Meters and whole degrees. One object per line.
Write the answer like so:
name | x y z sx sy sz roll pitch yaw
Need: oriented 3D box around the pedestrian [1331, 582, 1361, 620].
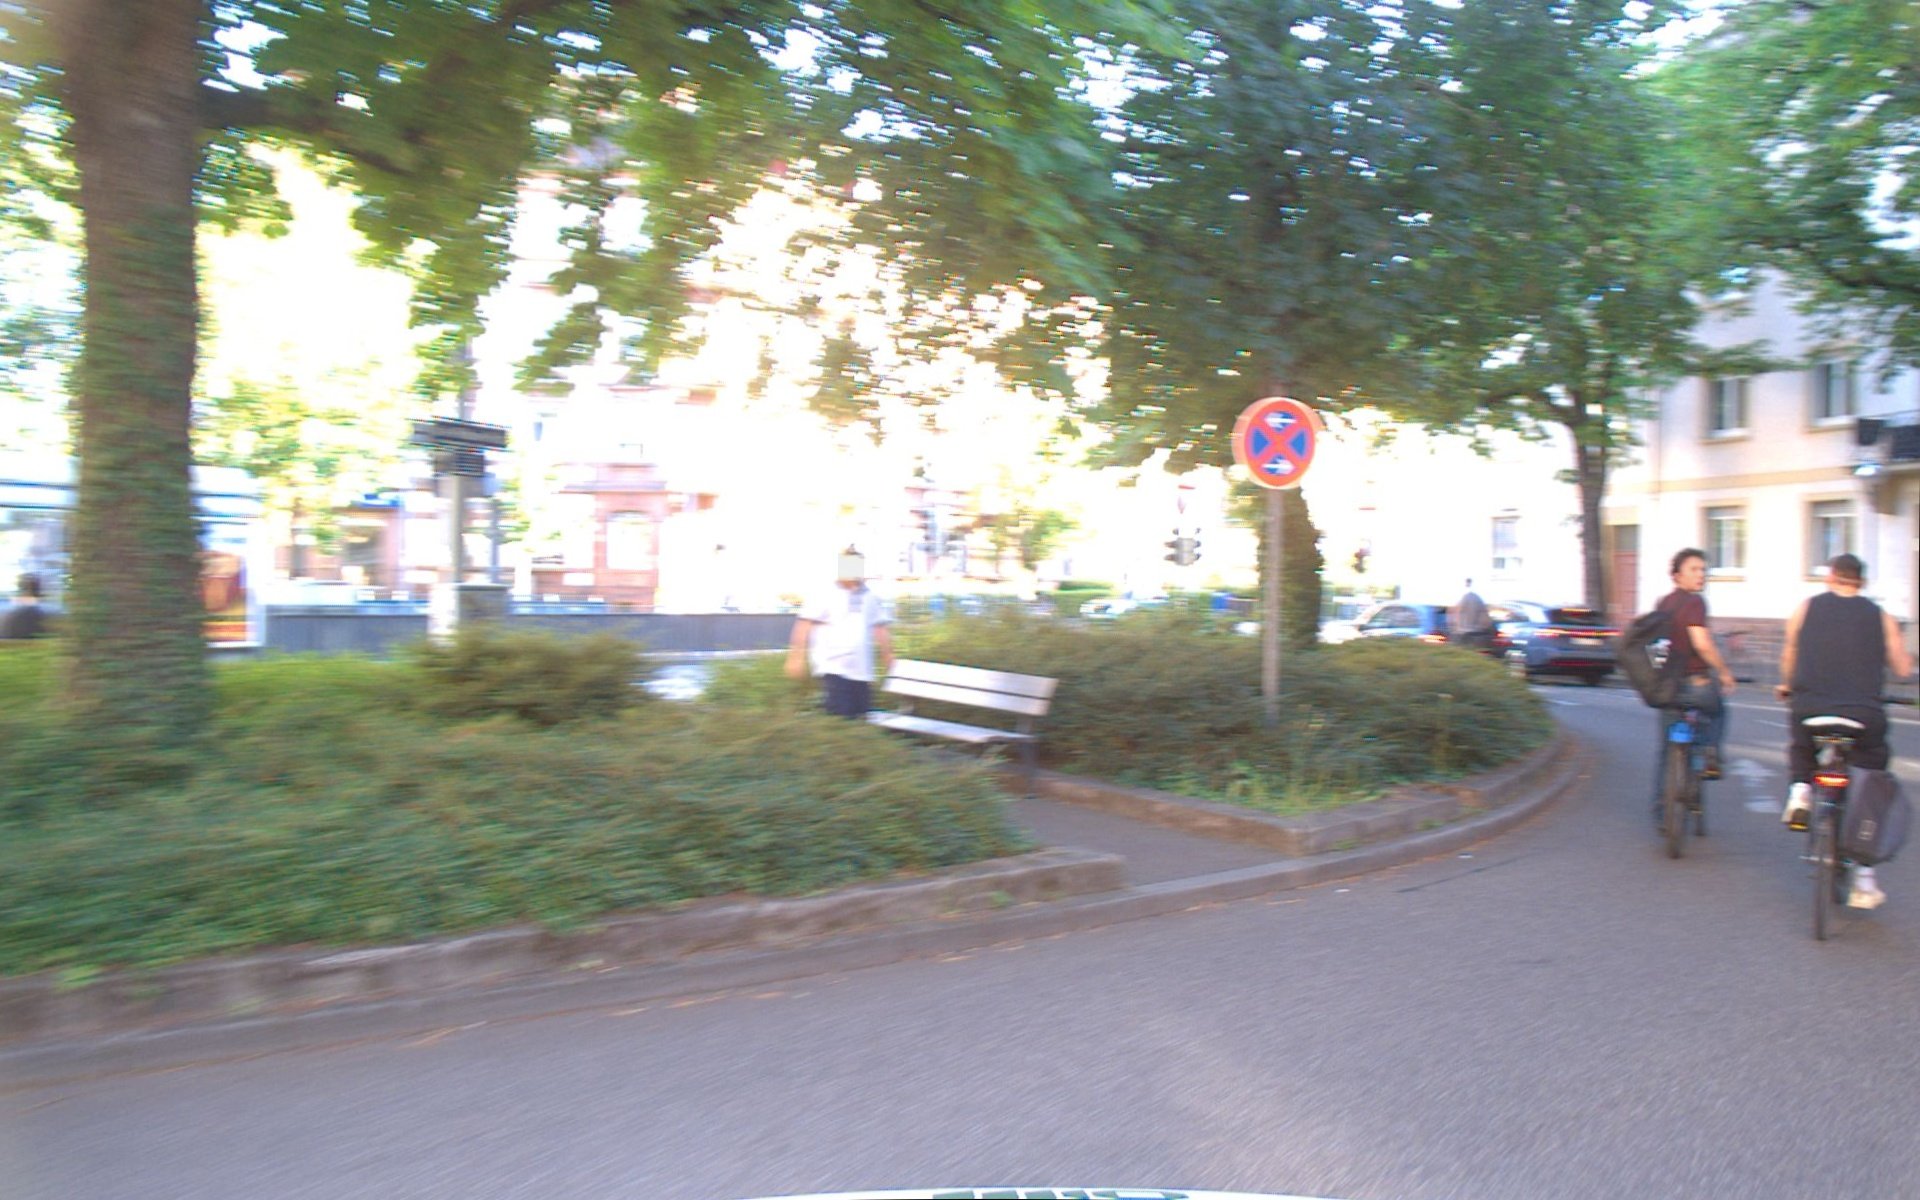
pedestrian | 20.741 0.066 88.967 1.138 1.996 1.383 1 0 34

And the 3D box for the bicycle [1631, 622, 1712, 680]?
bicycle | 13.544 0.953 31.538 0.509 1.016 2.190 1 0 -2

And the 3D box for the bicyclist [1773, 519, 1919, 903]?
bicyclist | 4.327 0.489 7.864 0.738 1.711 0.911 1 0 31

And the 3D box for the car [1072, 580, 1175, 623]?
car | 6.372 0.030 64.099 1.962 1.522 4.354 1 2 39

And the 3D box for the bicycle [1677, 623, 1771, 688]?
bicycle | 13.824 0.991 29.964 0.604 1.076 1.925 -1 1 -8

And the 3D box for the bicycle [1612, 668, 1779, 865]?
bicycle | 4.700 0.994 10.495 0.662 1.072 2.055 0 -1 33

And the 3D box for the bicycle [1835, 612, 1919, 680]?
bicycle | 16.633 0.797 29.693 0.570 1.133 2.115 0 1 -6

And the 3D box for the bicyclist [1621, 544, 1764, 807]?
bicyclist | 4.584 0.447 10.329 0.659 1.541 1.066 0 -1 33

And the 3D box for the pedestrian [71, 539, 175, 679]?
pedestrian | -11.872 0.114 23.466 0.894 1.930 1.016 1 0 36

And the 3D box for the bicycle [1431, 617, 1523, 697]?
bicycle | 8.236 0.882 26.455 0.586 1.182 2.038 1 0 -8

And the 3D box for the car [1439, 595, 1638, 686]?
car | 11.113 0.744 32.089 1.858 1.605 3.989 1 0 -12

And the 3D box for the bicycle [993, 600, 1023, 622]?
bicycle | 1.953 0.461 66.921 1.210 0.877 0.444 1 0 -37

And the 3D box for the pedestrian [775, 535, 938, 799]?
pedestrian | -0.715 0.433 11.254 0.903 1.713 0.775 0 0 -22

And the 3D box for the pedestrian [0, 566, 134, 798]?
pedestrian | -6.976 0.600 12.651 0.877 1.713 0.820 1 0 2

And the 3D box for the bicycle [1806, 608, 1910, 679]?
bicycle | 16.050 0.754 29.619 0.485 1.192 2.114 -3 0 -6

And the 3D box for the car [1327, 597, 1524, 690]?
car | 8.508 0.754 30.572 1.782 1.570 3.944 -1 0 -14

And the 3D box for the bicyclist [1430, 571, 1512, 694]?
bicyclist | 8.188 0.504 26.541 0.835 1.931 1.137 0 0 -10

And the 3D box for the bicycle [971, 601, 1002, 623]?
bicycle | 1.048 0.487 66.139 1.210 0.877 0.444 1 0 -37

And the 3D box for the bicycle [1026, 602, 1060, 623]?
bicycle | 3.461 0.520 68.847 1.431 0.877 0.444 1 0 -37

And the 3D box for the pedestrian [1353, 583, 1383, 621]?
pedestrian | 21.764 0.111 88.185 1.138 1.996 1.383 1 0 34

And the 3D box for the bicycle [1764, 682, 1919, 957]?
bicycle | 4.351 0.972 7.920 0.724 1.030 2.057 1 1 31
